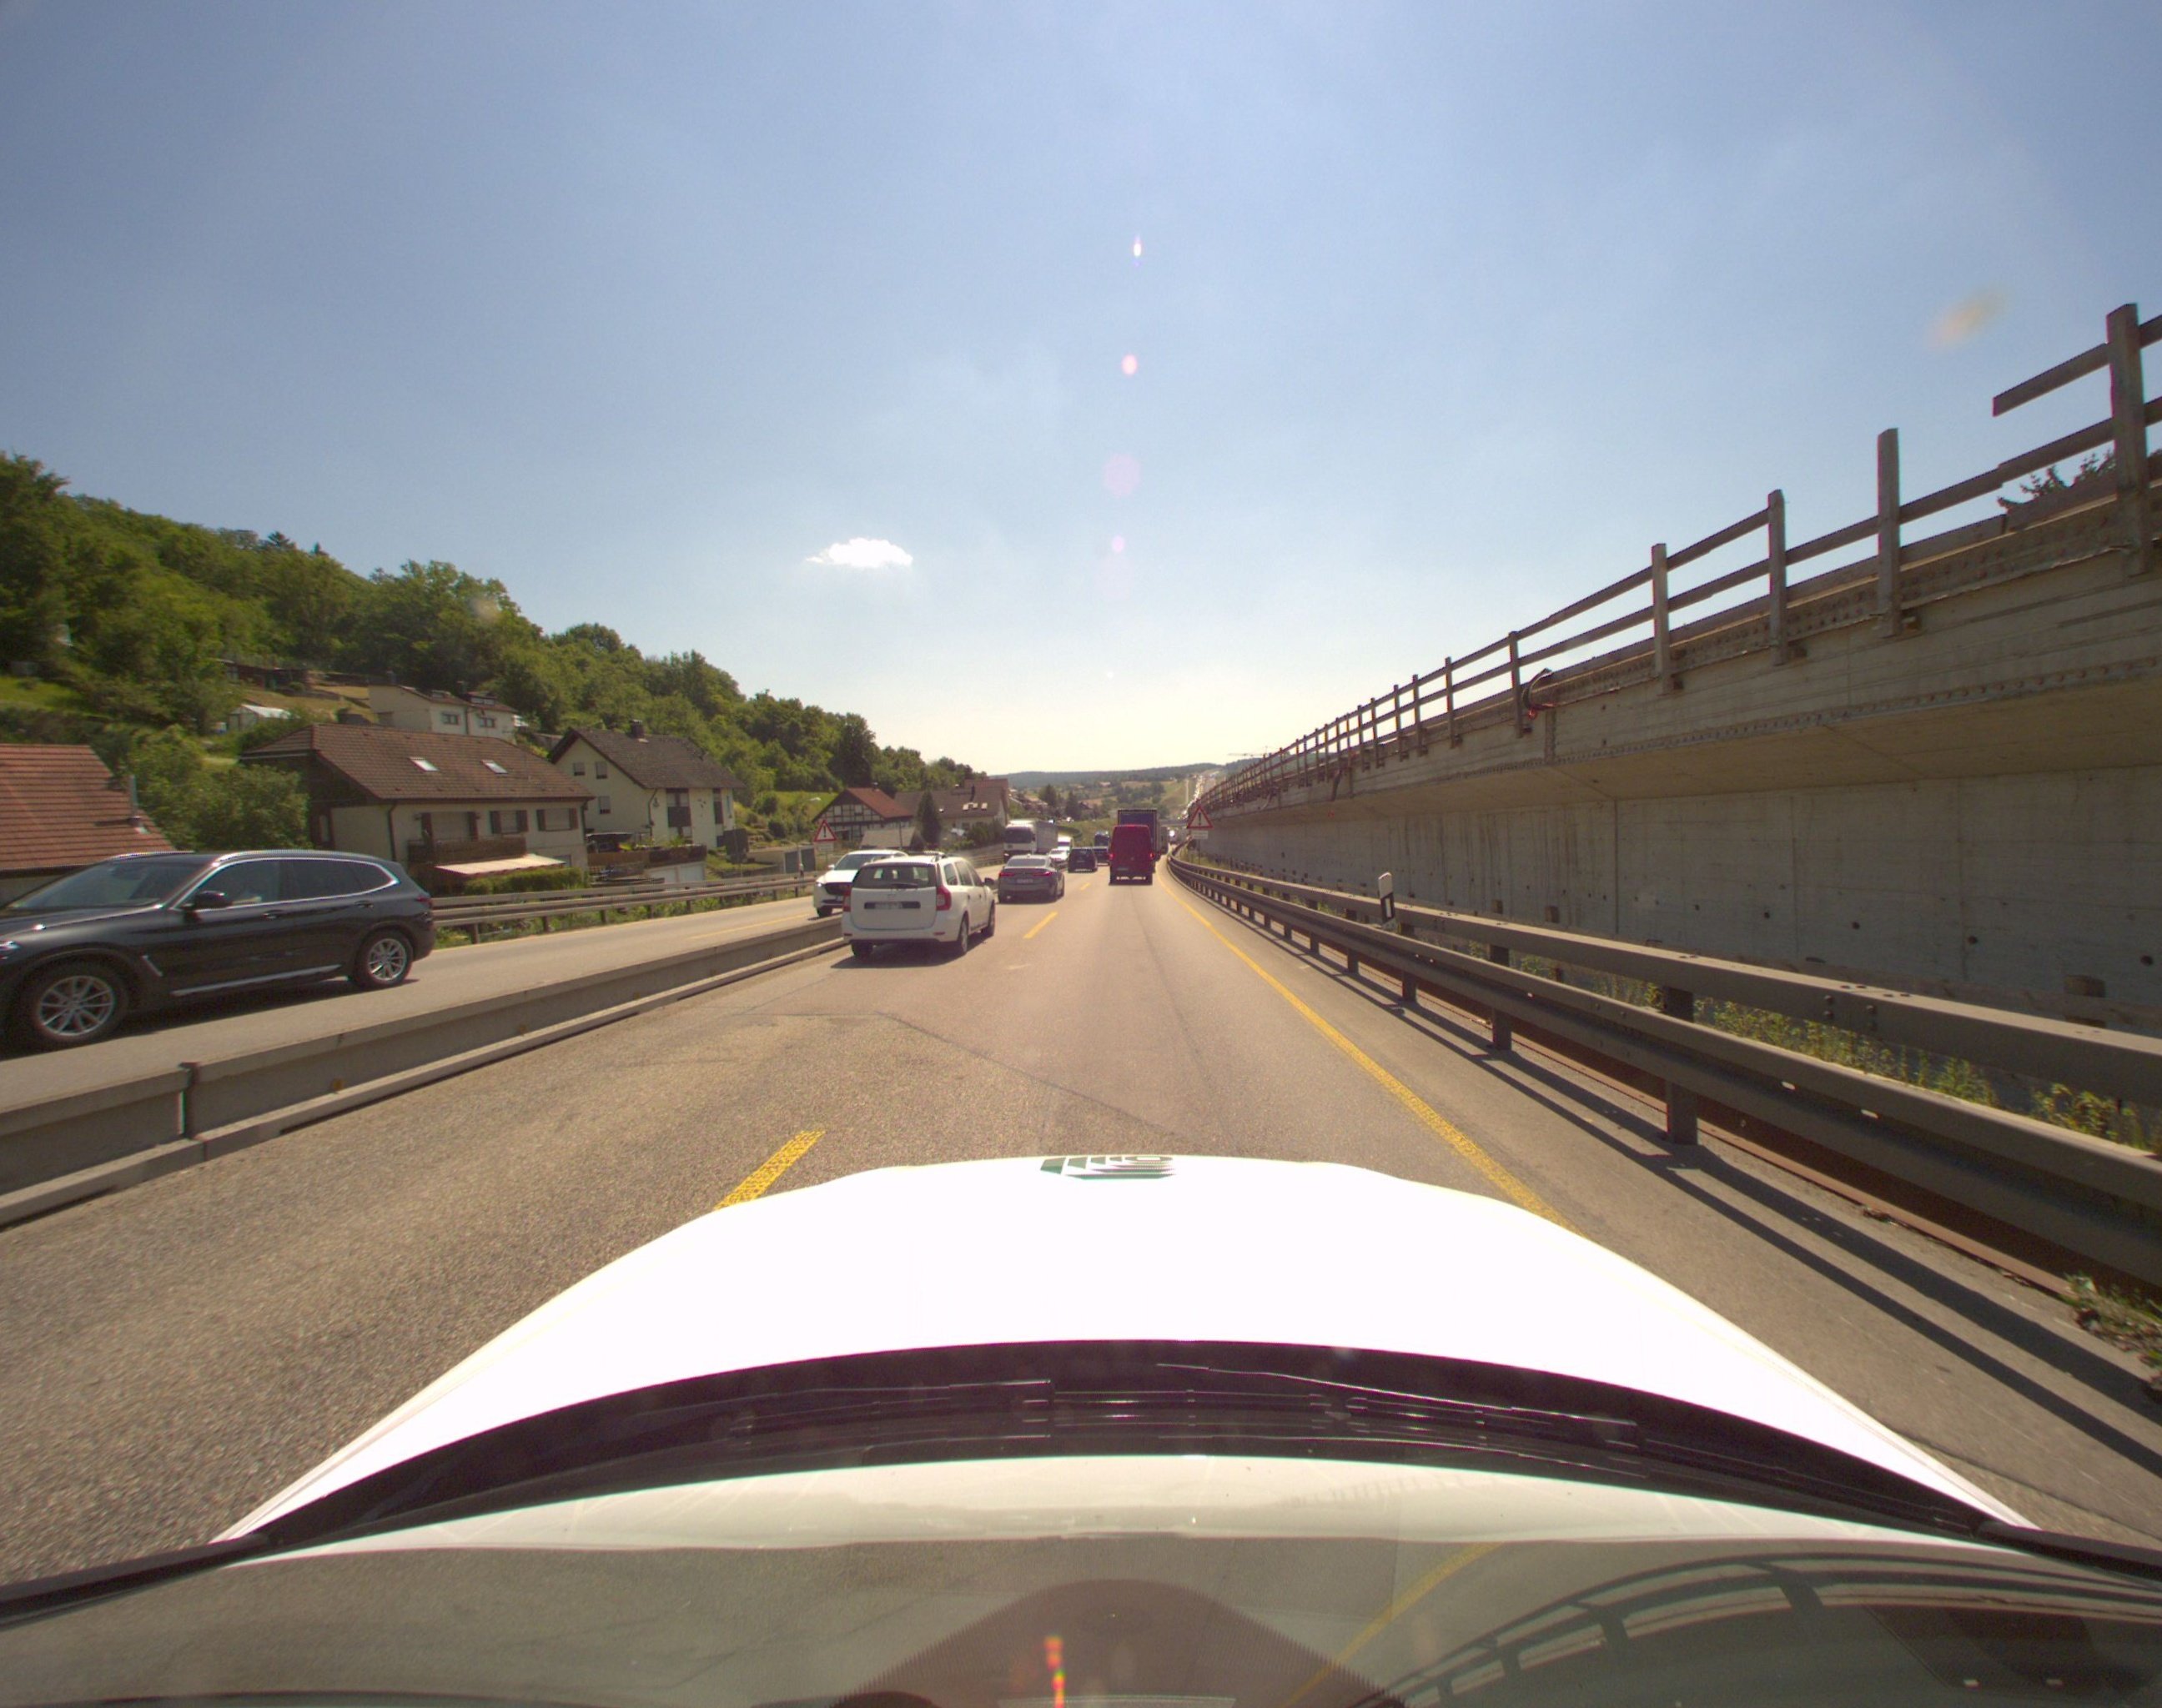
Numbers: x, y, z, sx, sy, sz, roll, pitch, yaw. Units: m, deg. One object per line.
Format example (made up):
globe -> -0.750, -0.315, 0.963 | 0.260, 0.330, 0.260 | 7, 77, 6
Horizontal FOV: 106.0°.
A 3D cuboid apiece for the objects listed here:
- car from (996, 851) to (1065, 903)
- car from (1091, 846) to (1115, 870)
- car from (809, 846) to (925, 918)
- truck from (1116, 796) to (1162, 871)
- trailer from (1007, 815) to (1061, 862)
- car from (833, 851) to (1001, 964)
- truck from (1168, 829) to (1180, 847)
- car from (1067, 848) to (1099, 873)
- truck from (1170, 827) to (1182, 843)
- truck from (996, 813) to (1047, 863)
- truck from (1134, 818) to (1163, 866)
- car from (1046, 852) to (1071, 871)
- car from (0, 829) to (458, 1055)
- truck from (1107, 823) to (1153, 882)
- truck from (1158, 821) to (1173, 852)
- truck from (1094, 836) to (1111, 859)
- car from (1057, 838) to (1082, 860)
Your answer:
car -> -1.526, 0.678, 25.853 | 1.788, 1.485, 4.051 | 0, 0, 2
car -> 1.838, 0.331, 66.057 | 1.722, 1.838, 4.004 | -1, -1, 4
car -> -5.546, 0.709, 21.724 | 1.743, 1.687, 4.389 | -1, -1, 2
truck -> 4.199, -1.242, 57.520 | 2.772, 4.816, 9.701 | -1, -1, 6
trailer -> -4.334, -1.441, 78.326 | 3.119, 4.079, 11.841 | -1, 0, 7
car -> -2.489, 0.759, 13.432 | 1.645, 1.483, 4.269 | -3, -1, 3
truck -> 24.601, -4.215, 215.150 | 3.053, 4.381, 8.573 | -1, -1, 7
car -> 0.152, 0.431, 54.335 | 1.801, 1.608, 3.724 | -1, -1, 5
truck -> 27.707, -5.410, 237.298 | 3.449, 4.381, 8.573 | -1, -1, 7
truck -> -5.138, -1.354, 71.540 | 3.119, 4.079, 6.891 | -1, 0, 6
truck -> 7.319, -1.137, 87.012 | 2.772, 4.816, 9.701 | -1, -1, 6
car -> -1.903, 0.621, 69.302 | 1.663, 1.535, 4.196 | -1, 0, 4
car -> -9.244, 0.727, 8.432 | 1.899, 1.742, 4.663 | -1, -1, 1
truck -> 2.285, -0.036, 38.139 | 1.985, 2.578, 4.003 | -1, -1, 3
truck -> 12.254, -2.540, 118.449 | 1.983, 4.381, 4.007 | -1, -1, 7
truck -> 3.776, -1.152, 144.254 | 2.495, 3.965, 5.184 | -1, -1, 6
car -> -1.356, -0.638, 101.559 | 1.993, 2.603, 5.995 | -1, 0, 9
